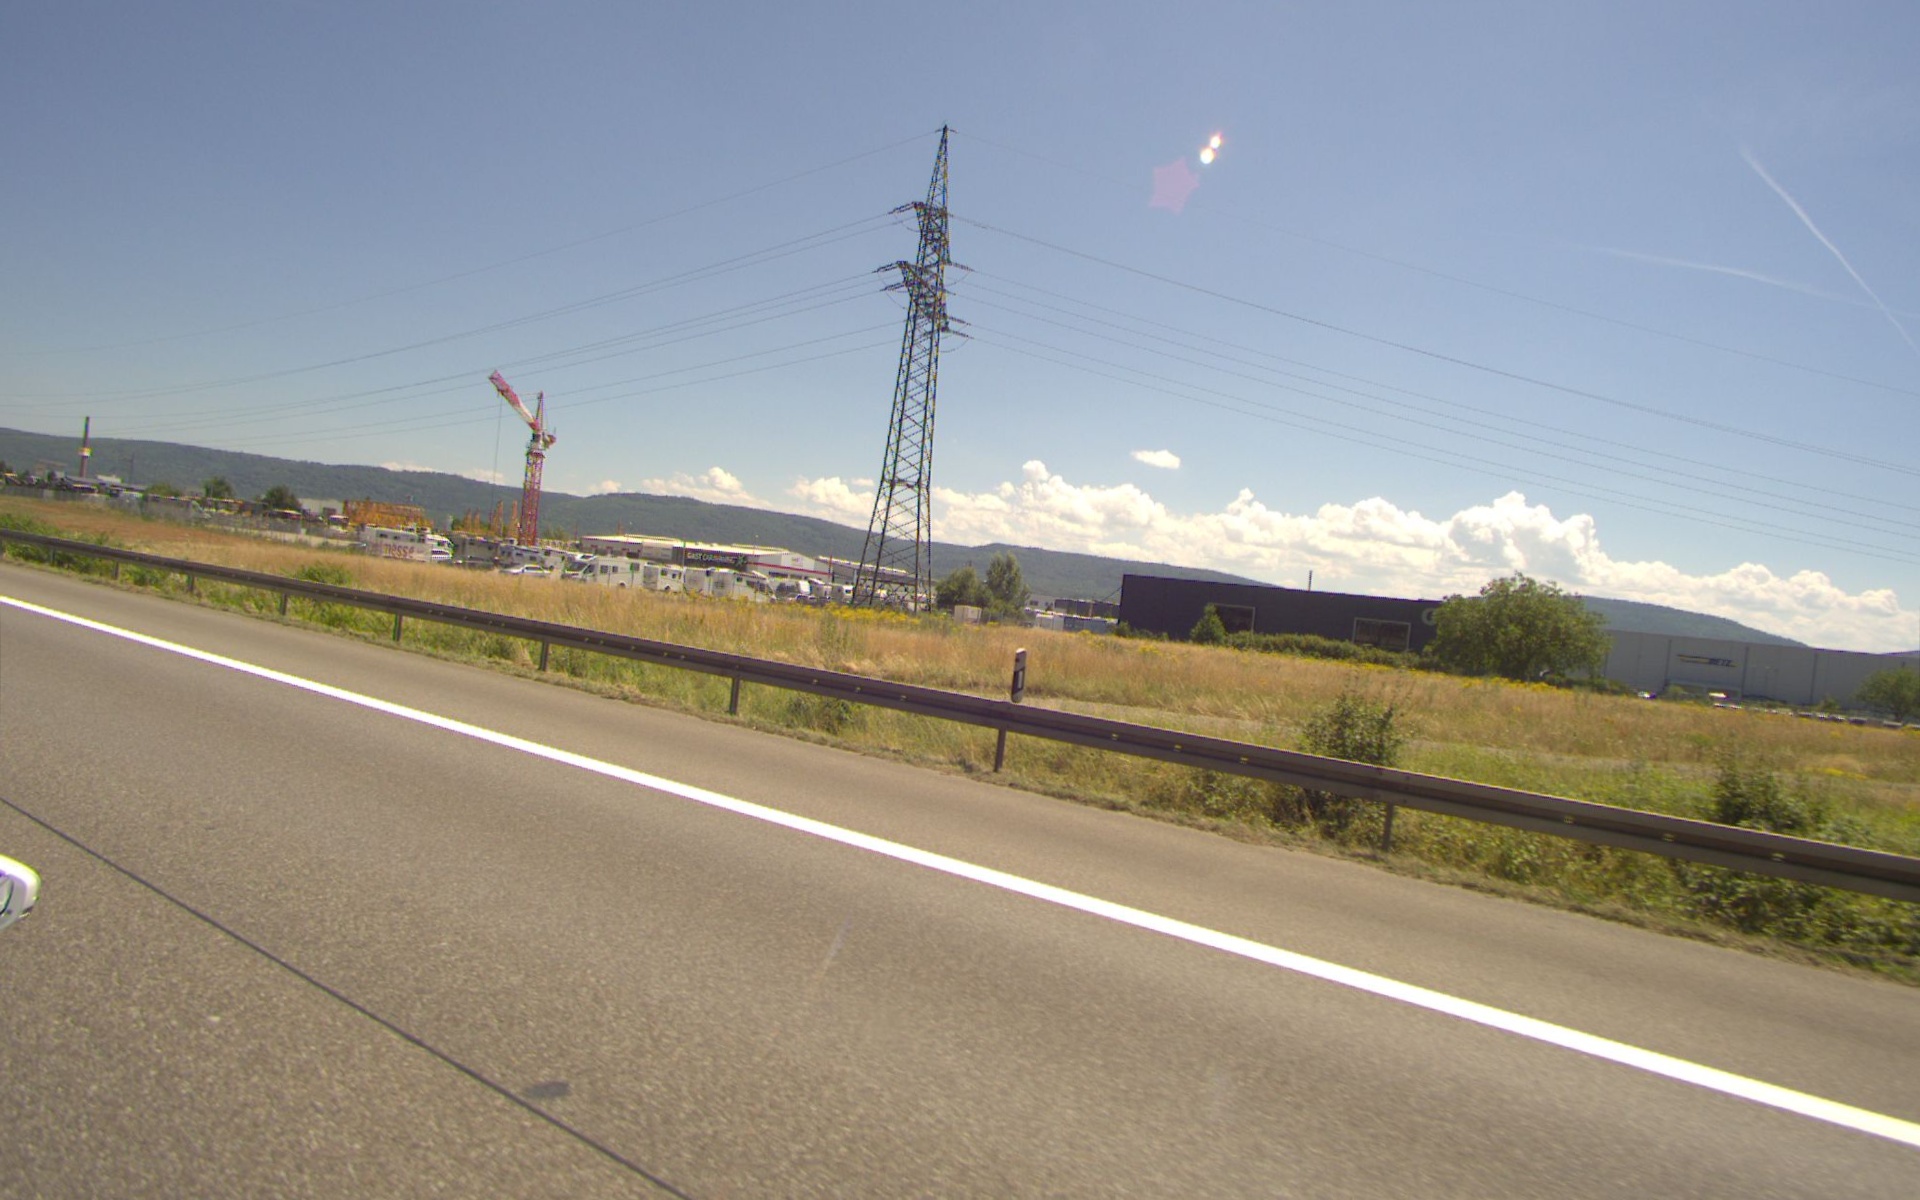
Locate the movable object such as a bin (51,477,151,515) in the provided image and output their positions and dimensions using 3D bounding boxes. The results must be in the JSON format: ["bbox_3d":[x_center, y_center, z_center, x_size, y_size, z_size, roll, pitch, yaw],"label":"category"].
[{"bbox_3d":[-116.615,-14.080,136.718,3.367,3.736,9.708,7,1,37],"label":"movable object such as a bin"}]

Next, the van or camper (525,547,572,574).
[{"bbox_3d":[-54.727,-5.227,133.781,2.570,2.799,5.270,7,0,24],"label":"van or camper"}]

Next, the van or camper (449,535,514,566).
[{"bbox_3d":[-55.522,-5.706,116.890,2.381,2.801,6.454,7,0,30],"label":"van or camper"}]

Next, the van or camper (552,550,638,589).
[{"bbox_3d":[-36.210,-2.978,100.147,3.101,2.915,7.756,7,-1,27],"label":"van or camper"}]

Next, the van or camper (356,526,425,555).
[{"bbox_3d":[-69.668,-7.255,123.173,3.269,2.711,6.359,7,0,30],"label":"van or camper"}]

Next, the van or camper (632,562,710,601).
[{"bbox_3d":[-28.464,-1.766,99.504,2.558,2.915,7.756,7,-1,27],"label":"van or camper"}]

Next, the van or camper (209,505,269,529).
[{"bbox_3d":[-99.504,-11.442,138.906,2.560,2.432,6.120,7,0,33],"label":"van or camper"}]

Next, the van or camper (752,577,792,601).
[{"bbox_3d":[-27.643,-1.527,148.303,2.461,2.933,5.948,7,0,28],"label":"van or camper"}]

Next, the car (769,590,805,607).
[{"bbox_3d":[-19.266,-0.191,111.969,1.670,1.430,3.994,7,-1,29],"label":"car"}]

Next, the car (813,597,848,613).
[{"bbox_3d":[-14.003,0.567,108.979,1.670,1.370,3.994,7,-1,29],"label":"car"}]

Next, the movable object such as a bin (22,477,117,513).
[{"bbox_3d":[-127.125,-14.974,143.768,2.591,3.736,9.718,7,1,33],"label":"movable object such as a bin"}]

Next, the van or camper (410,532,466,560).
[{"bbox_3d":[-63.326,-6.510,122.153,2.572,2.711,5.264,7,0,30],"label":"van or camper"}]

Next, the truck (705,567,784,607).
[{"bbox_3d":[-20.021,-1.137,94.144,2.725,2.915,7.756,7,-1,27],"label":"truck"}]

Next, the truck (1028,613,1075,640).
[{"bbox_3d":[10.241,3.004,112.508,2.531,2.477,6.137,7,0,31],"label":"truck"}]

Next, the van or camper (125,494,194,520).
[{"bbox_3d":[-99.450,-11.534,125.062,2.560,2.248,6.120,7,0,33],"label":"van or camper"}]

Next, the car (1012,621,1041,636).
[{"bbox_3d":[7.554,3.265,113.797,1.692,1.370,3.663,7,-1,29],"label":"car"}]

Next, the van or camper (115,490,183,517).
[{"bbox_3d":[-102.065,-12.178,126.701,2.560,2.432,6.120,7,0,33],"label":"van or camper"}]

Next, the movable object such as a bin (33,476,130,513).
[{"bbox_3d":[-123.780,-14.797,141.893,2.928,3.736,9.718,7,1,33],"label":"movable object such as a bin"}]

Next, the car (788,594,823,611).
[{"bbox_3d":[-16.989,0.281,110.833,1.670,1.370,3.994,7,-1,29],"label":"car"}]

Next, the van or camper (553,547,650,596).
[{"bbox_3d":[-29.719,-2.299,83.795,2.393,3.138,7.752,7,-1,29],"label":"van or camper"}]

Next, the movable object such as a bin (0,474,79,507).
[{"bbox_3d":[-139.093,-16.495,150.737,2.354,3.736,10.261,7,1,31],"label":"movable object such as a bin"}]

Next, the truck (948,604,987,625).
[{"bbox_3d":[0.959,1.795,120.319,2.342,2.022,5.149,7,0,28],"label":"truck"}]

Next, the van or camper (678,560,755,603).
[{"bbox_3d":[-23.091,-1.690,95.931,2.627,3.232,7.759,7,-1,25],"label":"van or camper"}]

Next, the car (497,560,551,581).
[{"bbox_3d":[-37.164,-2.507,85.811,1.560,1.313,3.895,7,-1,32],"label":"car"}]

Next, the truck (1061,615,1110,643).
[{"bbox_3d":[13.765,3.209,110.229,2.531,2.477,6.779,7,0,31],"label":"truck"}]

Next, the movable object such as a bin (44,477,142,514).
[{"bbox_3d":[-119.440,-14.333,138.795,2.931,3.736,9.708,7,1,37],"label":"movable object such as a bin"}]

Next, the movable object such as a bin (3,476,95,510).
[{"bbox_3d":[-135.279,-15.852,149.567,2.634,3.736,9.724,6,1,31],"label":"movable object such as a bin"}]

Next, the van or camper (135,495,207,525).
[{"bbox_3d":[-96.843,-11.022,123.535,2.398,2.584,6.347,7,0,33],"label":"van or camper"}]

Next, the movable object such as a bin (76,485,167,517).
[{"bbox_3d":[-111.028,-13.060,133.373,3.165,3.045,8.723,7,1,37],"label":"movable object such as a bin"}]
